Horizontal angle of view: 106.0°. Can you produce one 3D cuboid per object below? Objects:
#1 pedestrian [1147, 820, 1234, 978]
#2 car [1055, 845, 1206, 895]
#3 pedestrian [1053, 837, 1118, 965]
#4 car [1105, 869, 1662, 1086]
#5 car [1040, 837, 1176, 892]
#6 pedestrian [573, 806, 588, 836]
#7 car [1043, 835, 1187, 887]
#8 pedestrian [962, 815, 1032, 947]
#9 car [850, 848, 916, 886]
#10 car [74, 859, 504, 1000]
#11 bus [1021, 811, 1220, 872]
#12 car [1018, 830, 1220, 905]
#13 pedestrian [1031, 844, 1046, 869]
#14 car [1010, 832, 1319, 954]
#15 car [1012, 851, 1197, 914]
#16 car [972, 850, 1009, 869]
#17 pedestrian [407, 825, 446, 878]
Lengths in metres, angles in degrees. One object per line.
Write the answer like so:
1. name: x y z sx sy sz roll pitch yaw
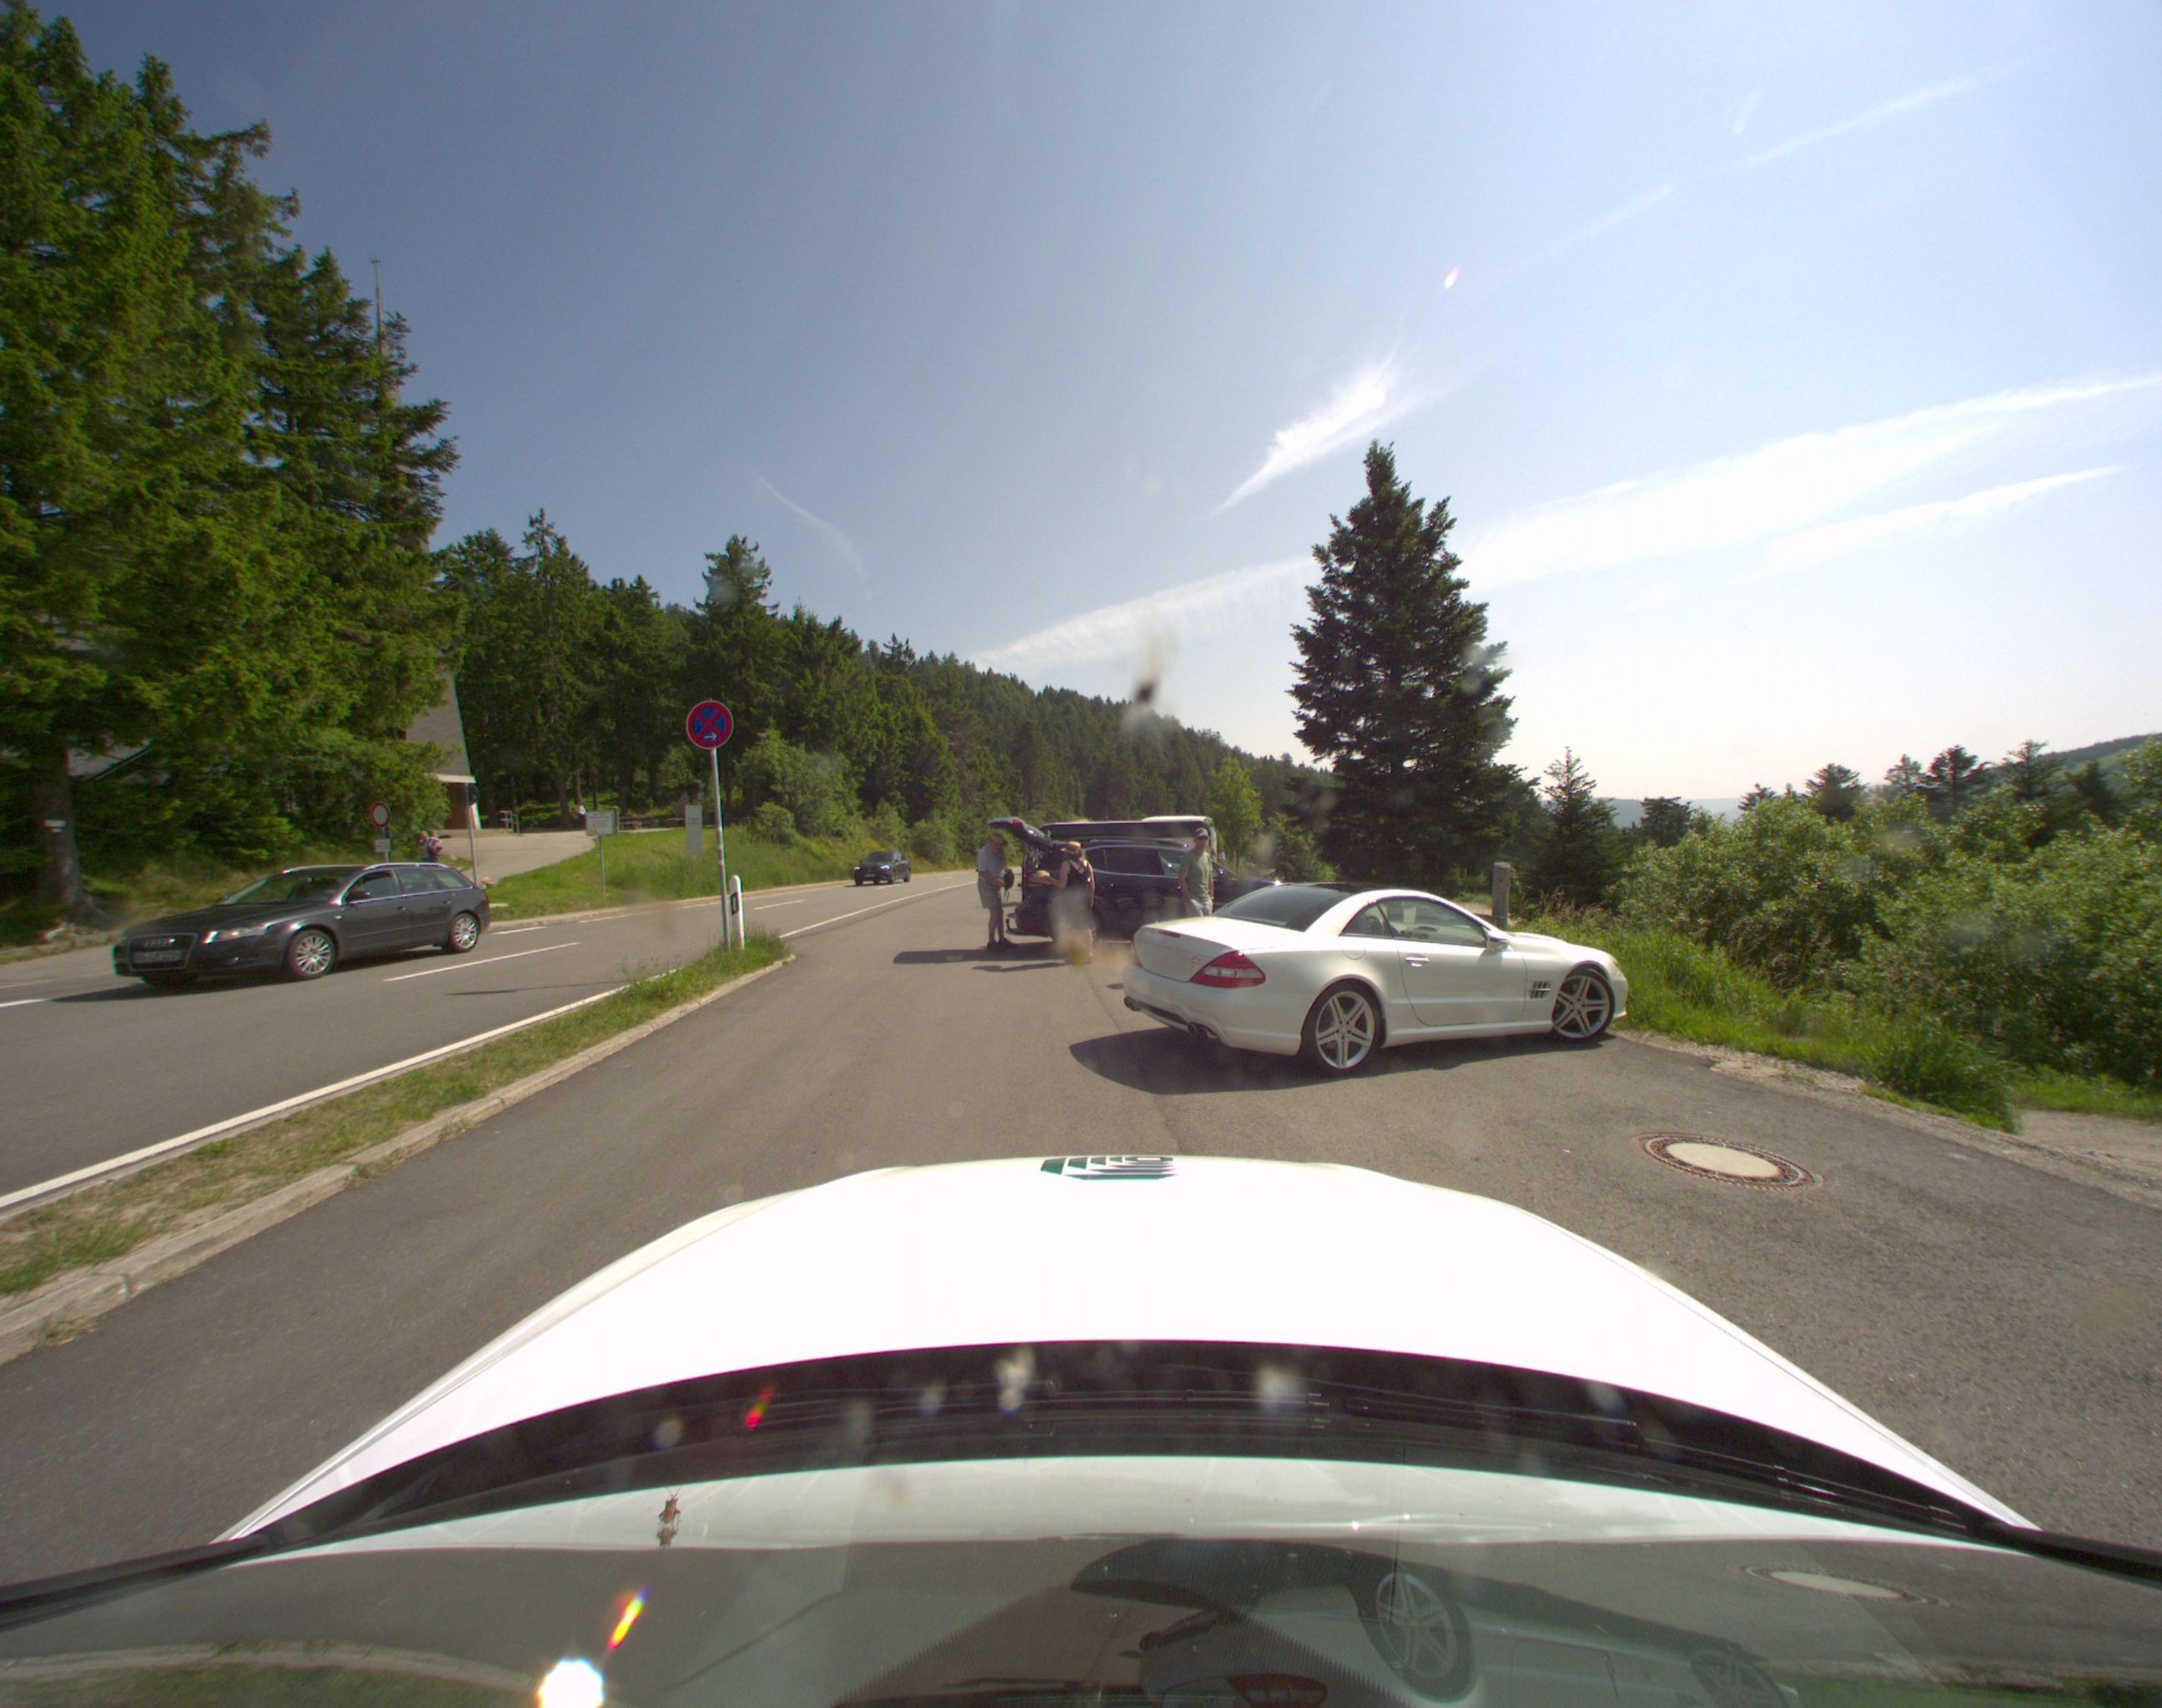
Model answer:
1. pedestrian: 1.312 0.520 9.797 0.751 1.800 0.728 0 -1 -33
2. car: 1.395 0.445 23.937 4.231 1.269 1.837 -2 0 -1
3. pedestrian: 0.050 0.596 10.707 0.716 1.613 0.533 0 -1 -21
4. car: 2.567 0.820 6.817 4.417 1.296 1.742 1 1 -24
5. car: 0.863 0.328 26.611 4.231 1.553 1.837 -2 0 -1
6. pedestrian: -32.888 -2.172 53.505 0.674 1.877 0.545 -3 0 32
7. car: 1.189 0.240 29.732 5.019 1.651 2.047 -2 0 -1
8. pedestrian: -1.238 0.362 12.085 0.728 1.870 0.763 1 3 29
9. car: -9.723 0.601 40.317 1.987 1.647 4.568 -3 1 1
10. car: -10.468 0.858 11.386 1.702 1.437 4.446 -3 1 -2
11. bus: 2.706 -0.801 55.090 13.015 3.532 3.052 -2 0 9
12. car: 0.968 0.324 21.042 4.931 1.695 1.946 -2 0 1
13. pedestrian: -2.724 0.168 52.596 0.766 1.585 0.774 -2 0 6
14. car: 1.134 0.570 12.311 4.339 1.626 1.866 1 -1 -7
15. car: 0.475 0.628 18.813 4.078 1.376 1.698 0 0 -7
16. car: -7.548 0.450 68.558 1.868 1.474 4.727 -1 0 9
17. pedestrian: -21.303 -0.085 26.519 0.721 1.681 0.679 -3 0 -16
